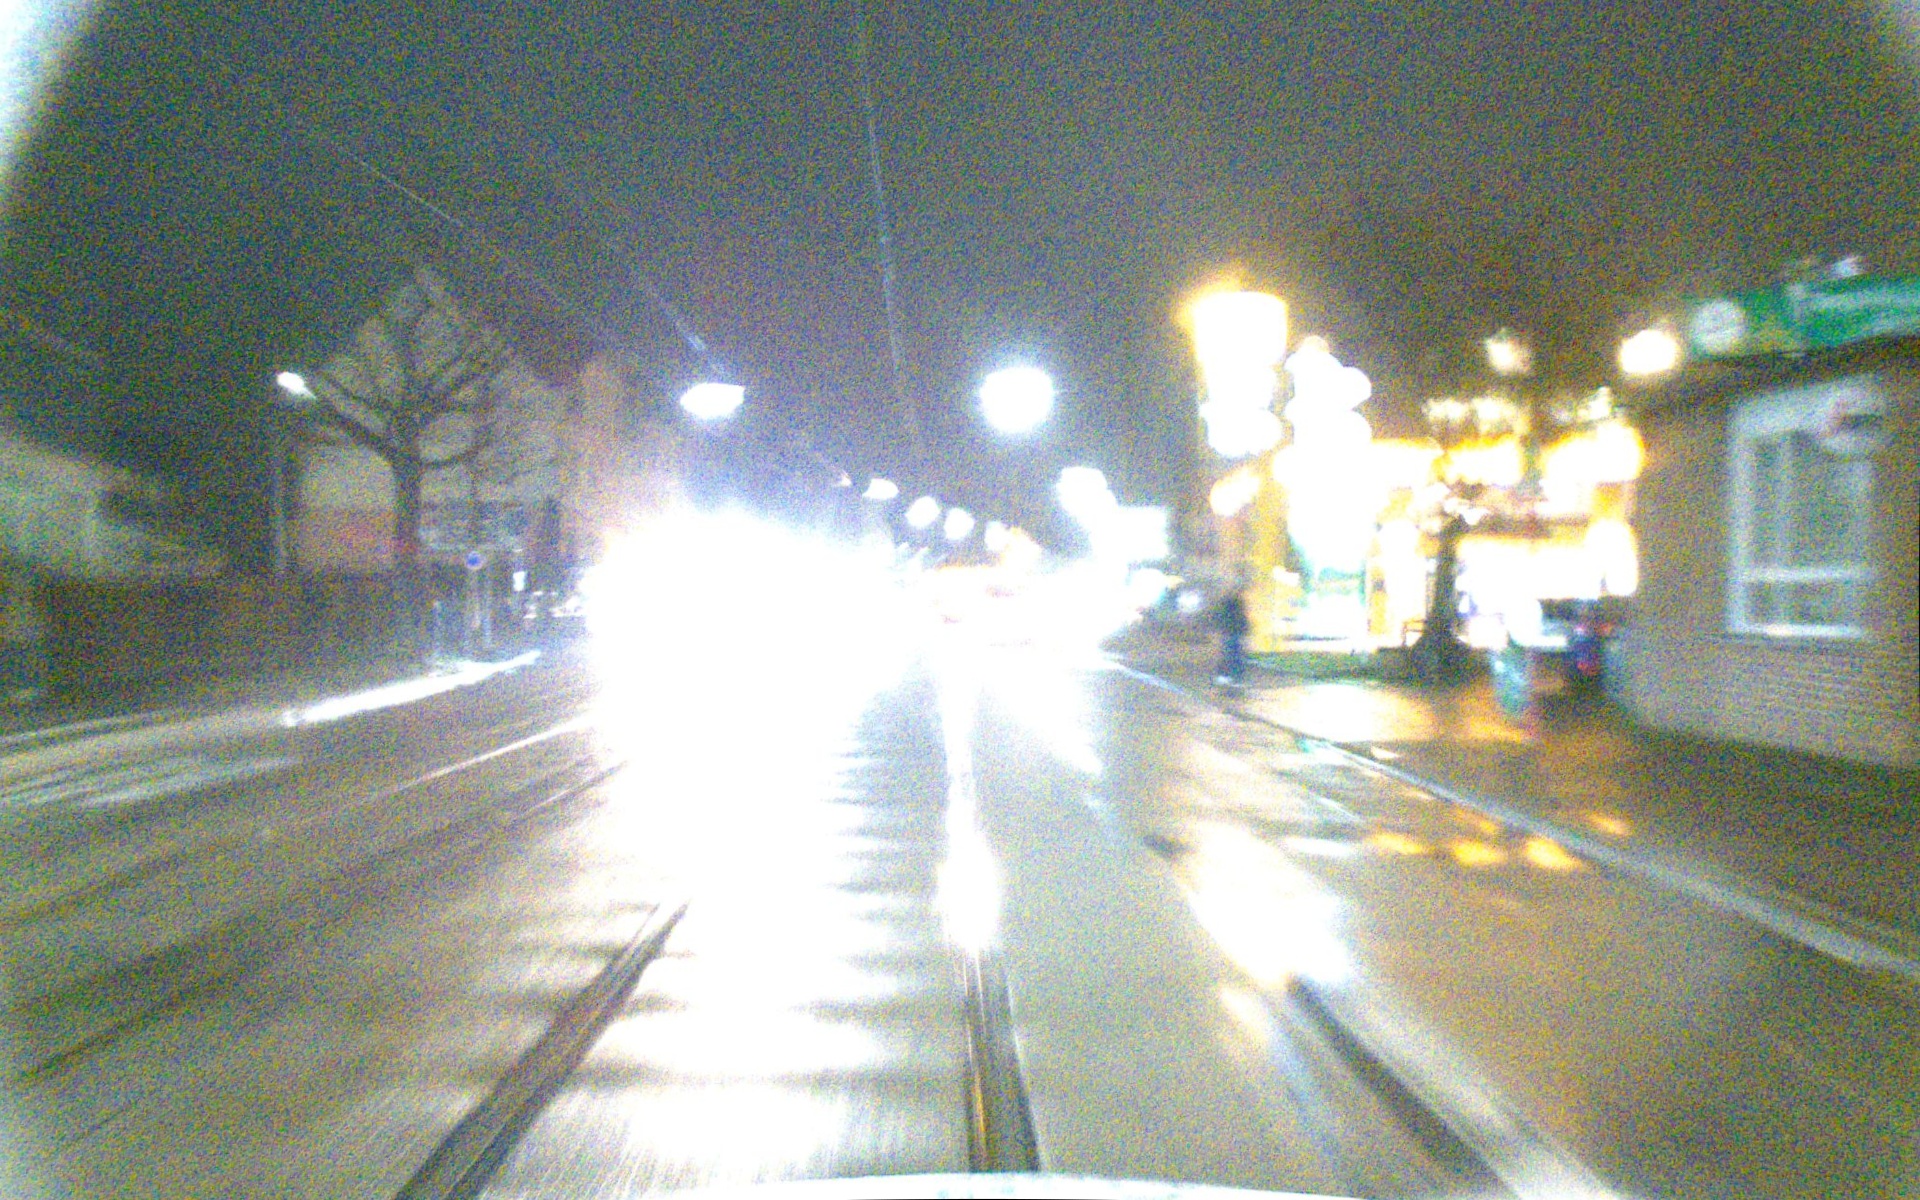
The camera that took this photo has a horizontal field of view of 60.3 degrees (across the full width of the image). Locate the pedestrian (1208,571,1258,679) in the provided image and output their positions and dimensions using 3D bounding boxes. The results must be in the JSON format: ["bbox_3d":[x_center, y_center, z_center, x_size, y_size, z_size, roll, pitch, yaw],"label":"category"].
[{"bbox_3d":[4.655,0.416,28.159,0.761,1.807,0.694,0,0,16],"label":"pedestrian"}]

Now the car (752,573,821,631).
[{"bbox_3d":[-6.160,0.057,59.313,2.274,1.966,4.959,0,0,-4],"label":"car"}]

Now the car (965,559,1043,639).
[{"bbox_3d":[1.319,-0.043,51.912,2.199,2.402,4.392,0,0,-2],"label":"car"}]

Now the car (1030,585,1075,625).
[{"bbox_3d":[4.336,0.222,78.080,1.974,1.847,4.001,0,0,1],"label":"car"}]

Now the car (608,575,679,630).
[{"bbox_3d":[-12.150,0.071,63.720,1.952,2.049,4.000,0,0,0],"label":"car"}]

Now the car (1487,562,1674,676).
[{"bbox_3d":[10.318,0.271,27.334,1.989,1.730,4.109,0,0,34],"label":"car"}]

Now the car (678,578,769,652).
[{"bbox_3d":[-5.854,0.344,41.305,1.954,1.754,4.073,0,0,-4],"label":"car"}]

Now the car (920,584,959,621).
[{"bbox_3d":[-1.091,0.104,85.420,1.953,1.847,3.999,0,0,-2],"label":"car"}]

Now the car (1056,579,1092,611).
[{"bbox_3d":[7.257,-0.318,105.959,1.953,2.049,3.999,0,0,-1],"label":"car"}]
